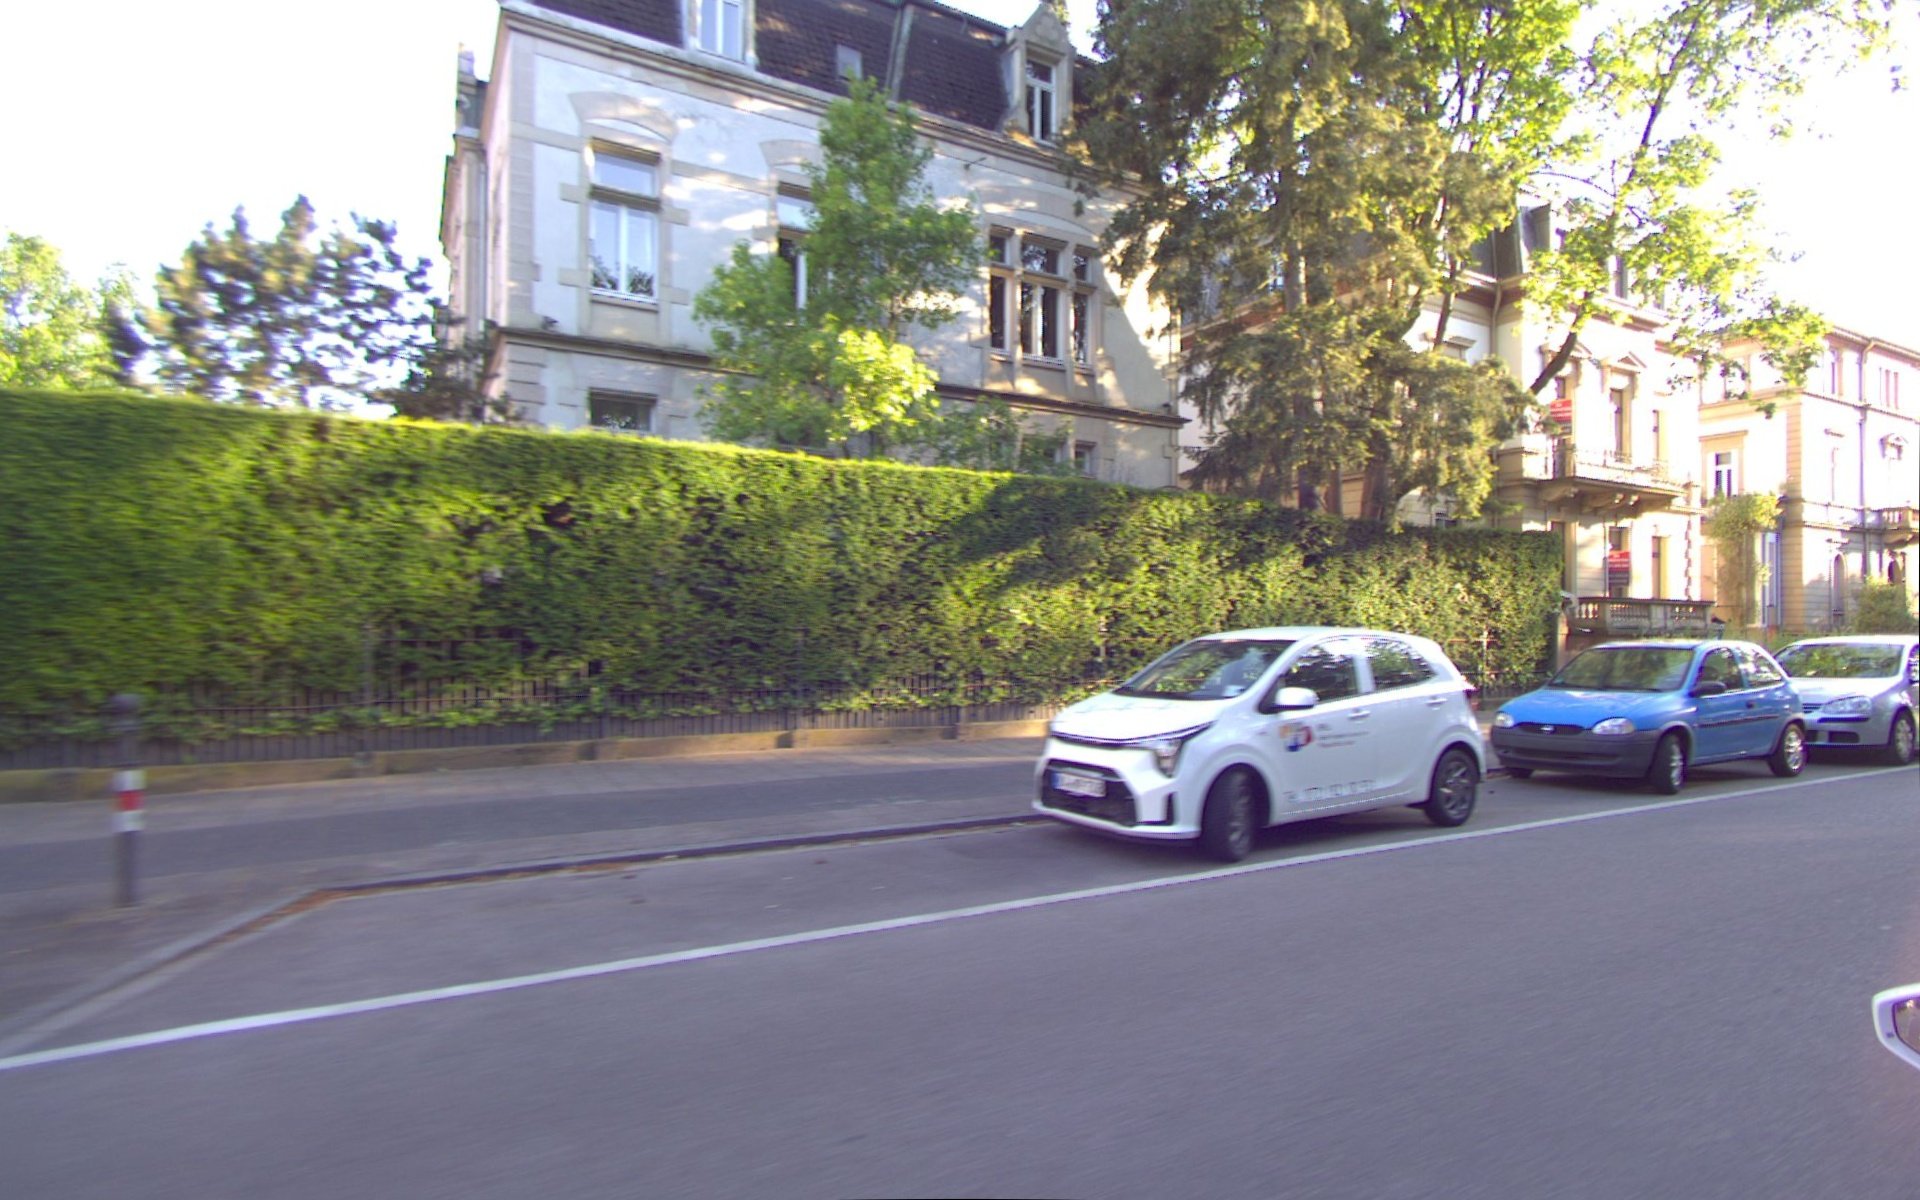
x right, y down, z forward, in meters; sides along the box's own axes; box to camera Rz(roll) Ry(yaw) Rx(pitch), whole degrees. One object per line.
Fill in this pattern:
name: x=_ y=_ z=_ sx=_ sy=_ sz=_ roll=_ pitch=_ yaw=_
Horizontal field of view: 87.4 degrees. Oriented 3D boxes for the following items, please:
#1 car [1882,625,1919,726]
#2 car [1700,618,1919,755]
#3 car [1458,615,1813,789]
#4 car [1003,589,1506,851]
car: x=16.087 y=1.165 z=15.488 sx=3.987 sy=1.486 sz=1.607 roll=2 pitch=-2 yaw=-29
car: x=11.181 y=1.012 z=12.574 sx=3.987 sy=1.486 sz=1.607 roll=2 pitch=-2 yaw=-29
car: x=7.012 y=0.960 z=10.367 sx=3.698 sy=1.505 sz=1.606 roll=2 pitch=-2 yaw=-30
car: x=2.283 y=0.797 z=7.576 sx=3.670 sy=1.535 sz=1.606 roll=2 pitch=-3 yaw=-32
